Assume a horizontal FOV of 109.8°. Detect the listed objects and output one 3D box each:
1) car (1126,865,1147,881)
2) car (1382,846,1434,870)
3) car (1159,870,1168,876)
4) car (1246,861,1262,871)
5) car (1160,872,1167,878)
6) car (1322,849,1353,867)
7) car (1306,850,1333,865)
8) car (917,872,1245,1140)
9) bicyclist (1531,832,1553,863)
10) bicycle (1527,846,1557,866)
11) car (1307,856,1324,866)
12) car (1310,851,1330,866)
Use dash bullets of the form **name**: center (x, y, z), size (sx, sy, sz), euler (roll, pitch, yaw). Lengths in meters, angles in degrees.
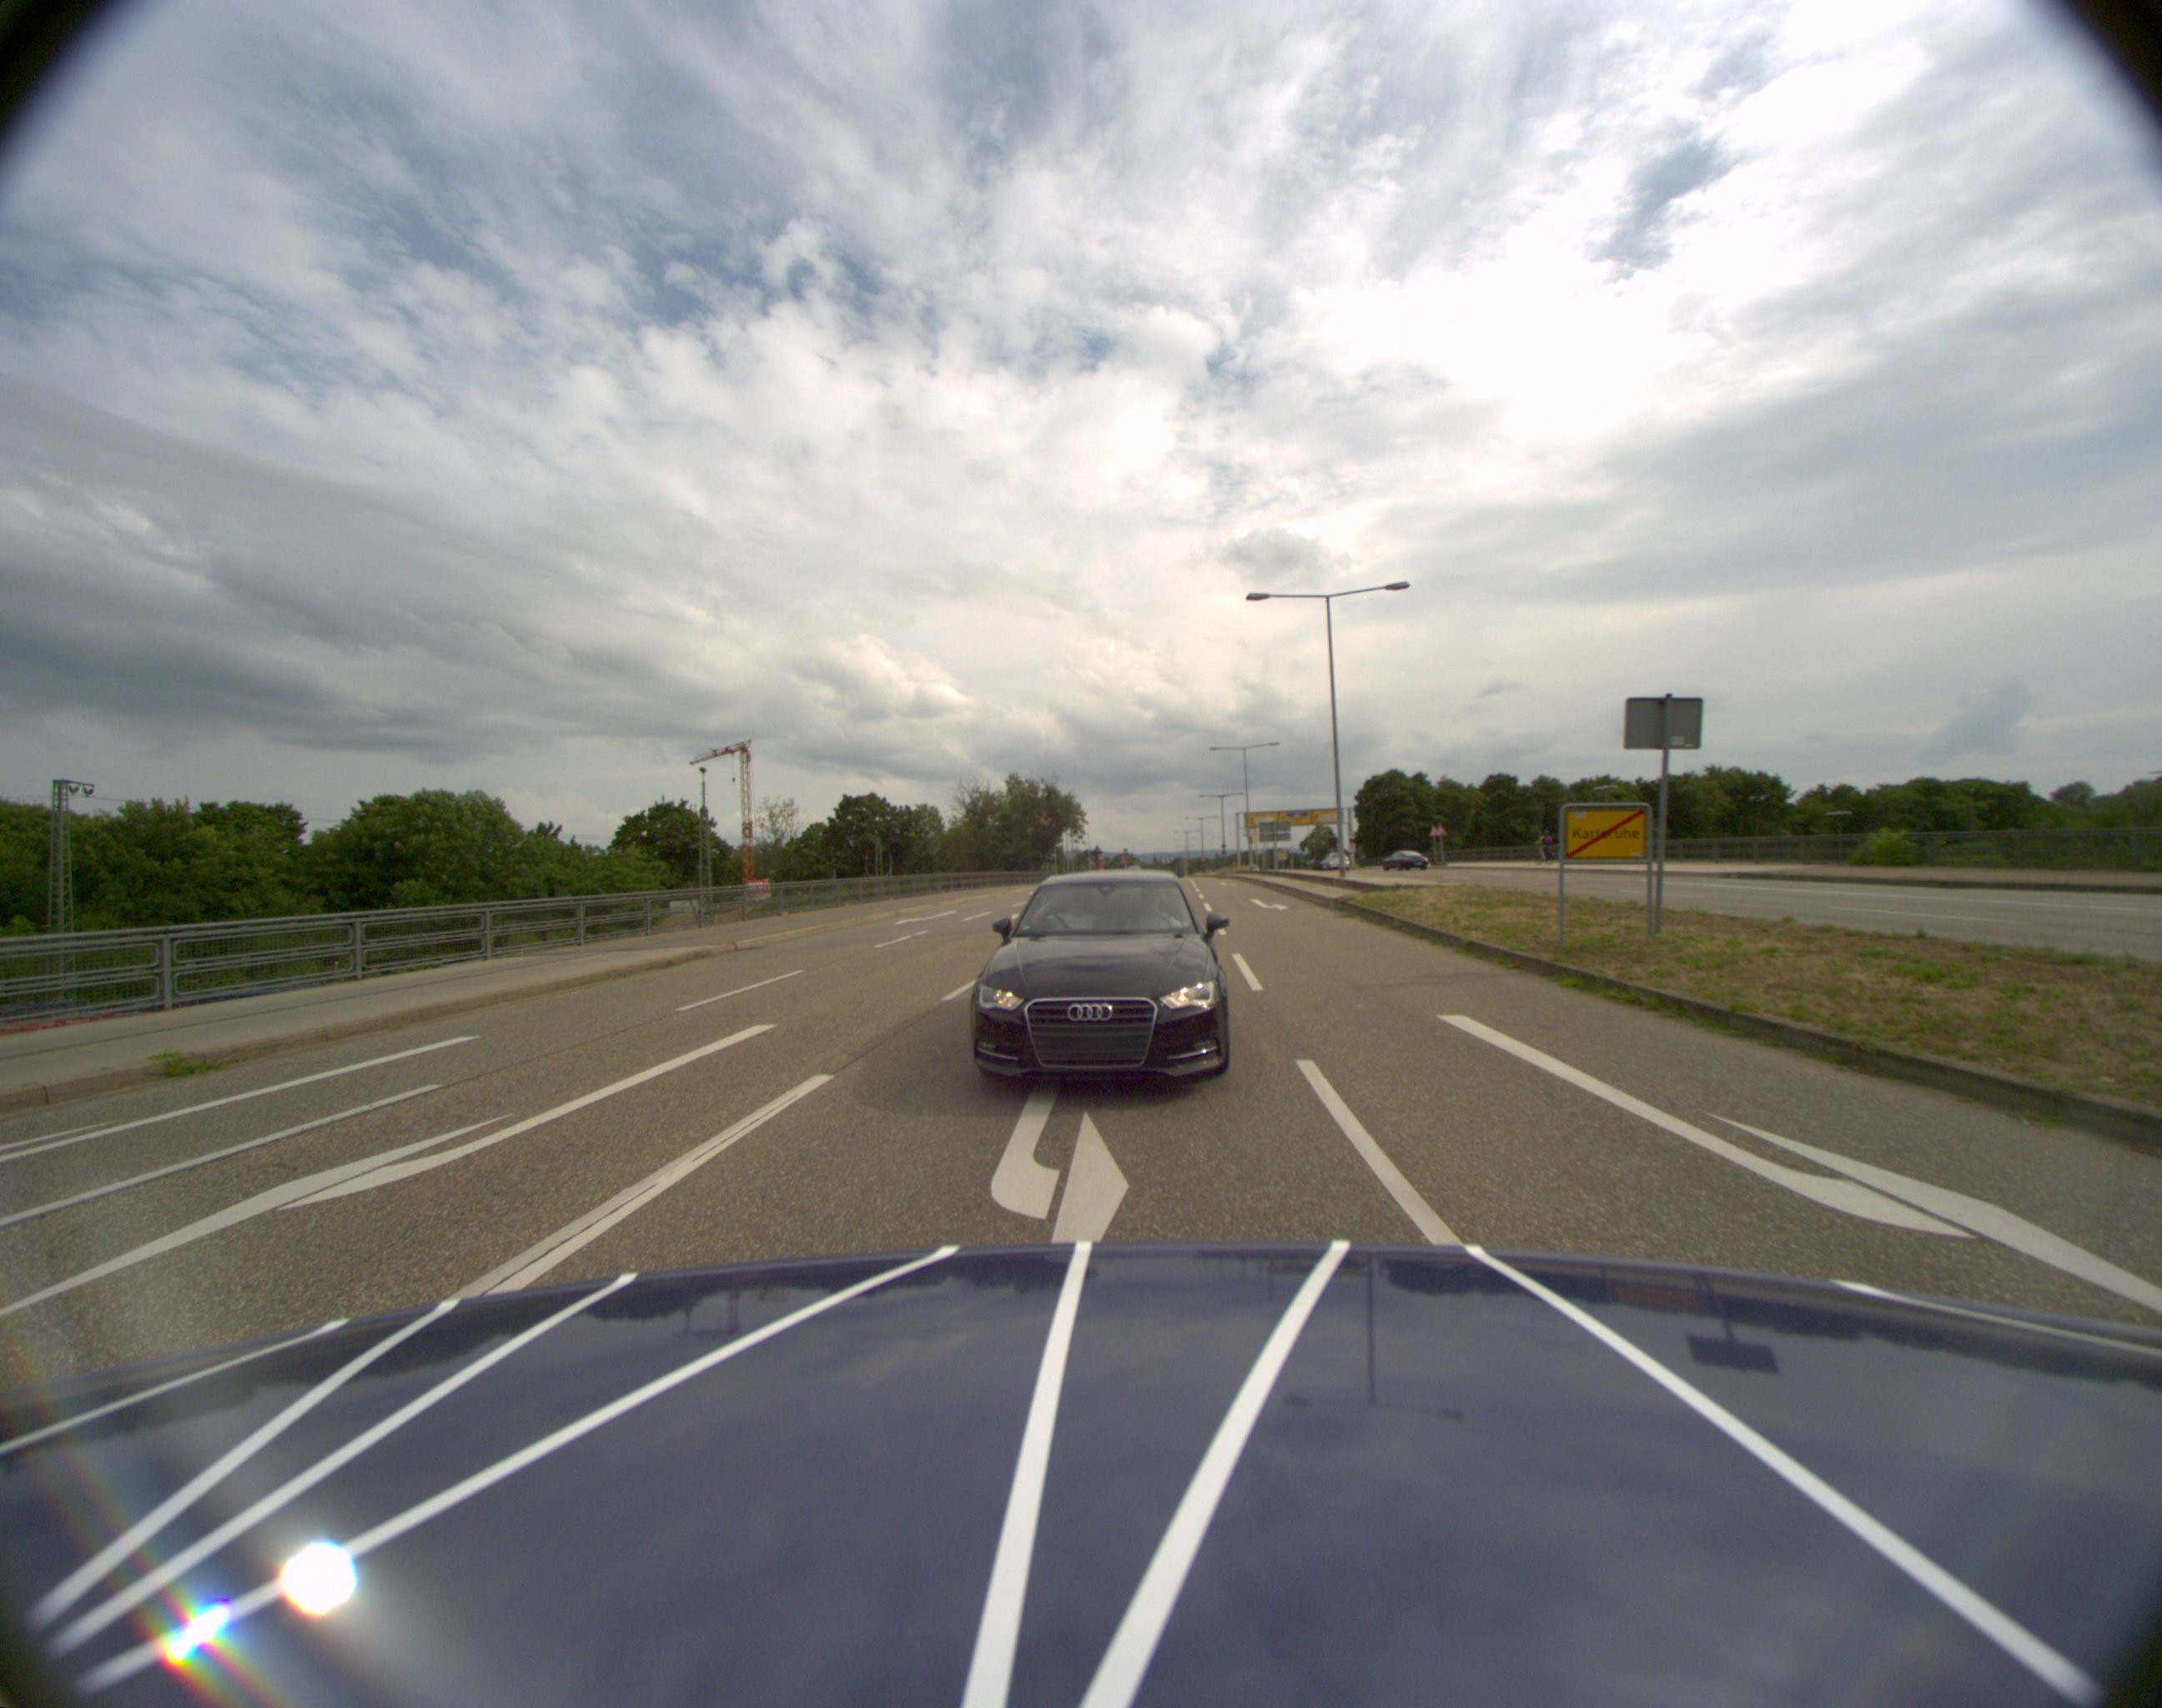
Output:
- **car**: center (5.873, 1.981, 79.844), size (1.724, 1.512, 3.952), euler (-4, 0, 9)
- **car**: center (21.581, 0.234, 50.338), size (1.825, 1.438, 4.354), euler (-2, 0, 5)
- **car**: center (18.792, 4.299, 173.094), size (1.860, 1.335, 4.002), euler (-2, 0, 7)
- **car**: center (27.082, 1.813, 119.050), size (1.812, 1.407, 4.031), euler (-2, 0, 5)
- **car**: center (23.736, 6.002, 218.047), size (1.860, 1.335, 4.002), euler (-2, 0, 7)
- **car**: center (21.146, 0.273, 62.721), size (1.619, 1.402, 3.862), euler (-1, 0, 6)
- **car**: center (23.489, 0.365, 74.954), size (1.745, 1.402, 3.878), euler (-1, 0, 5)
- **car**: center (0.259, 0.946, 6.731), size (1.851, 1.355, 4.731), euler (-2, 0, 7)
- **bicyclist**: center (25.750, -0.343, 42.458), size (0.685, 1.662, 0.848), euler (-3, 0, 9)
- **bicycle**: center (25.765, 0.127, 42.510), size (0.685, 1.047, 1.996), euler (-3, 0, 9)
- **car**: center (35.342, 1.074, 114.469), size (1.920, 1.407, 4.889), euler (-1, -1, 22)
- **car**: center (27.583, 0.554, 87.908), size (1.745, 1.649, 4.082), euler (-1, 0, 11)
